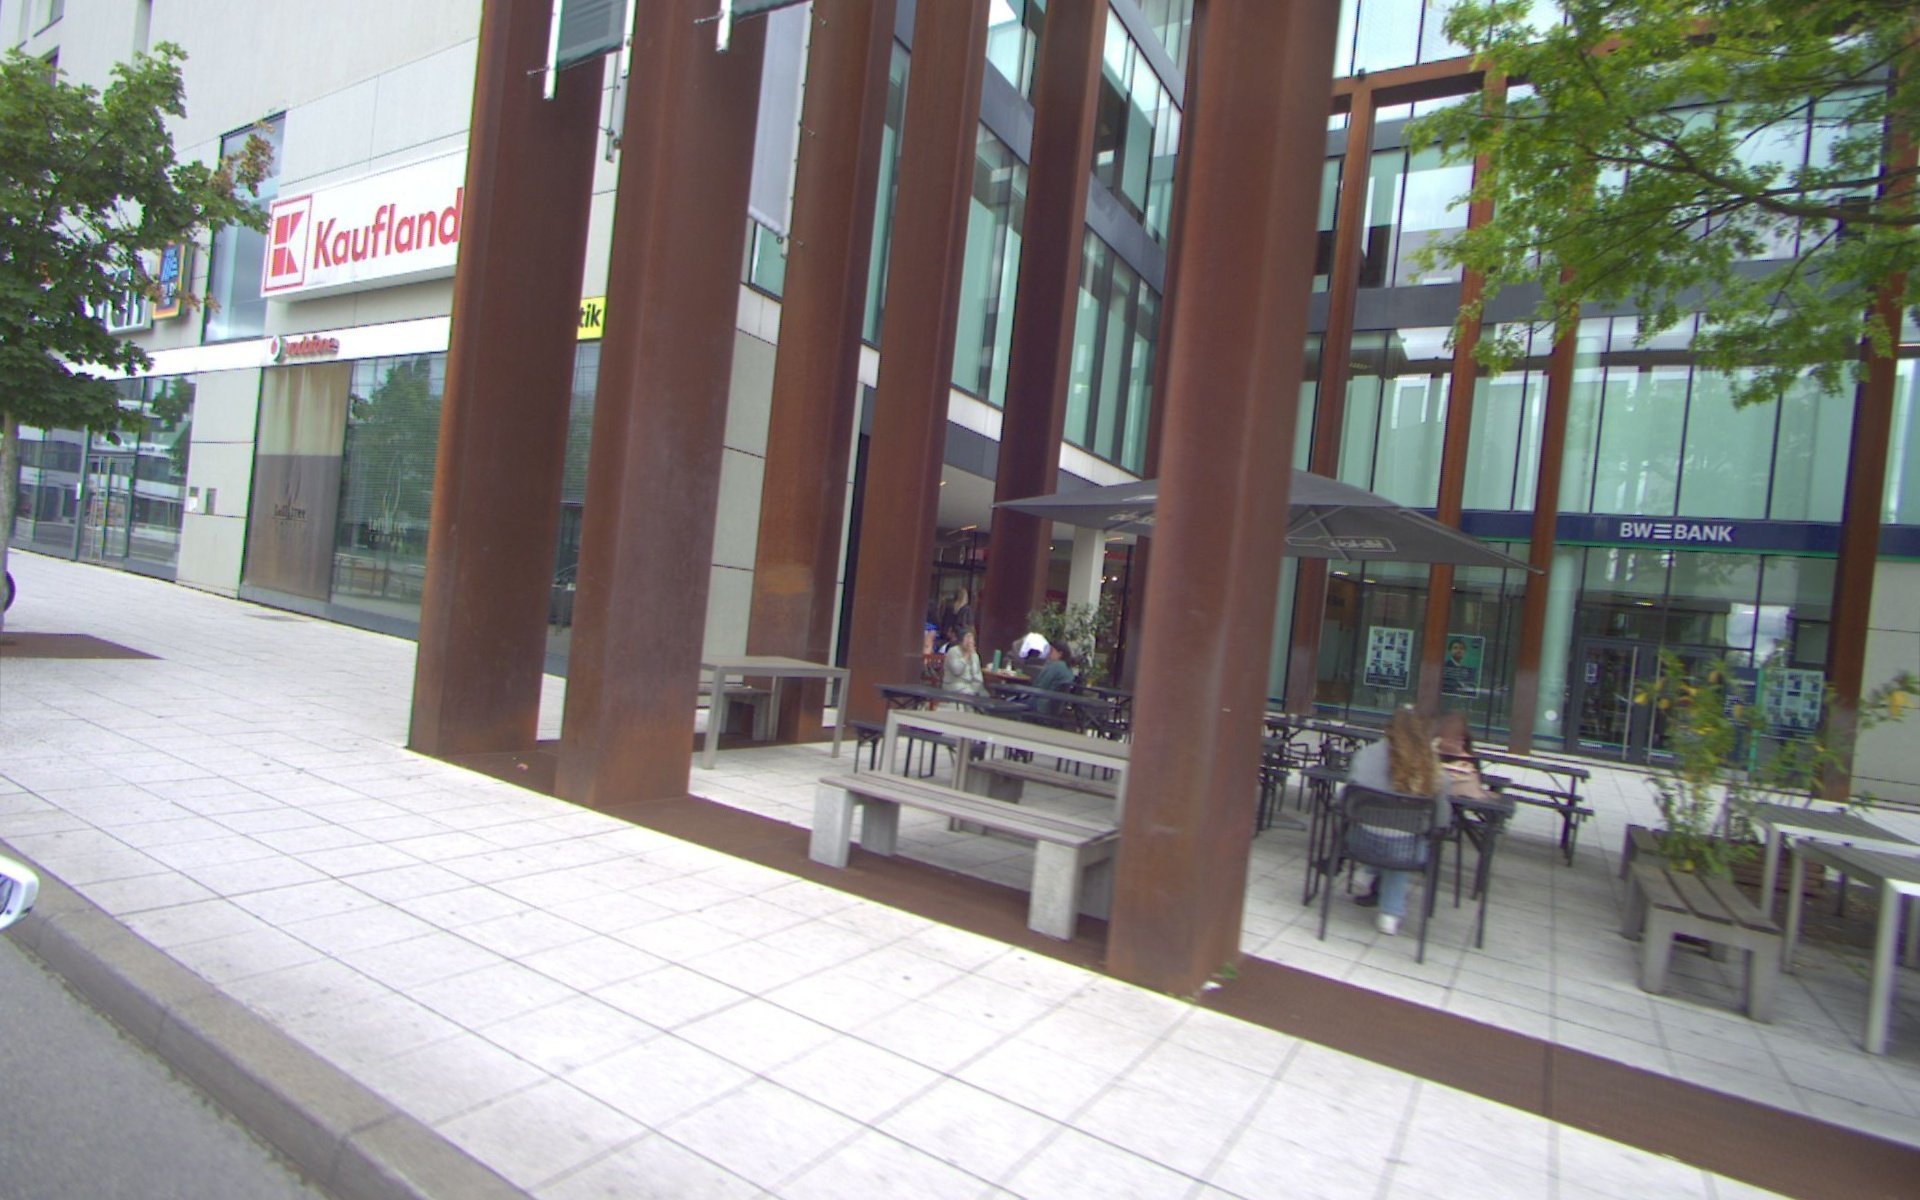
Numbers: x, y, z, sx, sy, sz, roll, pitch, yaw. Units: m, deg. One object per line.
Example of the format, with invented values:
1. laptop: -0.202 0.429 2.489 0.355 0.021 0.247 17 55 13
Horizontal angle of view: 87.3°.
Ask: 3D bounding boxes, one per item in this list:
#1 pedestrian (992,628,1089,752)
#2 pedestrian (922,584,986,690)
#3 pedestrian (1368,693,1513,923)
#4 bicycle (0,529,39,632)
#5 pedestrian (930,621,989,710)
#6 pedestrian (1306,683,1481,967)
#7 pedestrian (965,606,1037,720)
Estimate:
1. pedestrian: 0.887 0.977 11.102 0.782 1.223 0.516 8 1 30
2. pedestrian: -0.096 0.618 16.669 0.724 1.653 0.522 7 0 34
3. pedestrian: 2.906 1.221 6.084 0.597 1.235 0.447 7 0 36
4. bicycle: -10.298 -0.267 9.956 0.740 1.004 1.561 7 0 35
5. pedestrian: -0.008 0.934 14.362 0.516 1.200 0.504 7 0 35
6. pedestrian: 2.154 1.071 4.997 0.597 1.235 0.448 7 0 35
7. pedestrian: 0.571 0.870 13.917 0.597 1.487 0.646 7 0 33
